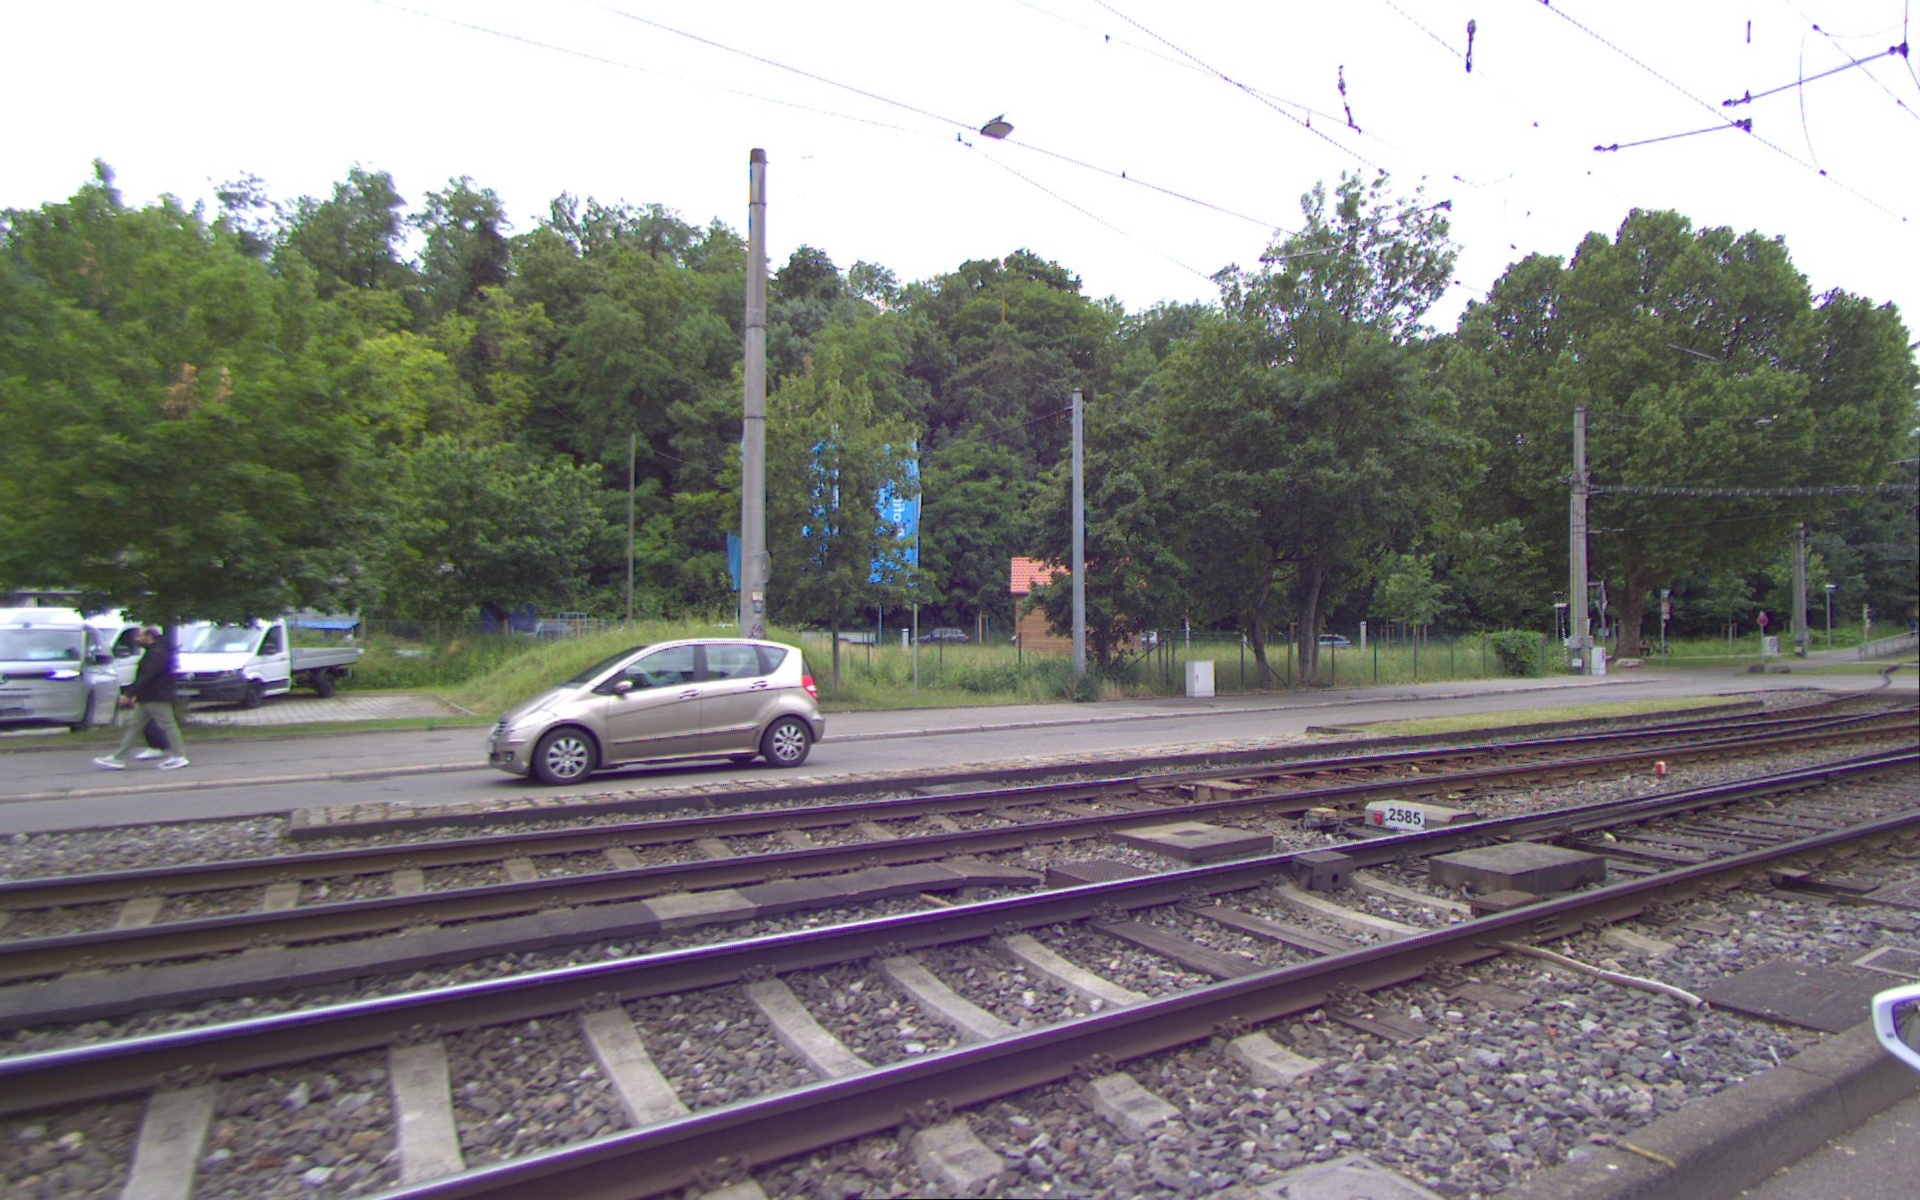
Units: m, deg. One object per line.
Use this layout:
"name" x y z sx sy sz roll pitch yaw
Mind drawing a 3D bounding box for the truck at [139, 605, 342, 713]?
"truck" -19.172 1.539 27.142 2.424 2.622 5.065 0 -2 -10

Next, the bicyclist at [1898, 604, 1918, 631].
"bicyclist" 67.456 1.216 71.485 1.041 1.874 0.815 -1 0 -37

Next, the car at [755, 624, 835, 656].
"car" -8.752 2.117 53.572 3.920 1.684 2.001 0 -2 1

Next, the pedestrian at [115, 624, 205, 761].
"pedestrian" -10.583 1.197 13.313 0.846 1.736 0.624 1 0 -32

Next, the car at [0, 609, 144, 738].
"car" -15.669 1.185 16.930 2.141 1.912 5.033 1 -3 -30

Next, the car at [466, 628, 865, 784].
"car" -3.436 1.183 12.016 4.214 1.551 1.879 1 -6 -35

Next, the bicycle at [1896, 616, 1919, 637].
"bicycle" 67.588 1.883 71.560 2.968 1.361 0.818 -2 -1 -38

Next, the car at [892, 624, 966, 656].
"car" -1.626 2.168 54.724 3.920 1.684 2.001 0 -2 1

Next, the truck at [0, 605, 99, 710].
"truck" -25.438 1.480 26.015 2.424 2.622 5.065 0 -2 -10

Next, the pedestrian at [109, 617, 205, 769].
"pedestrian" -10.099 1.138 12.662 0.846 1.837 0.672 1 0 -32

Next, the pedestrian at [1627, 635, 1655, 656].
"pedestrian" 43.113 2.874 63.612 1.035 1.284 1.117 2 -1 9

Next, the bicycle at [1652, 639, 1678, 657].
"bicycle" 44.405 3.012 63.307 0.662 1.025 1.654 2 -1 9

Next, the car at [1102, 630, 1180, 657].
"car" 11.000 2.630 61.090 4.319 1.603 1.999 0 -2 -5

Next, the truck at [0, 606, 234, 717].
"truck" -22.268 1.566 26.717 2.424 2.622 5.770 0 -2 -10
